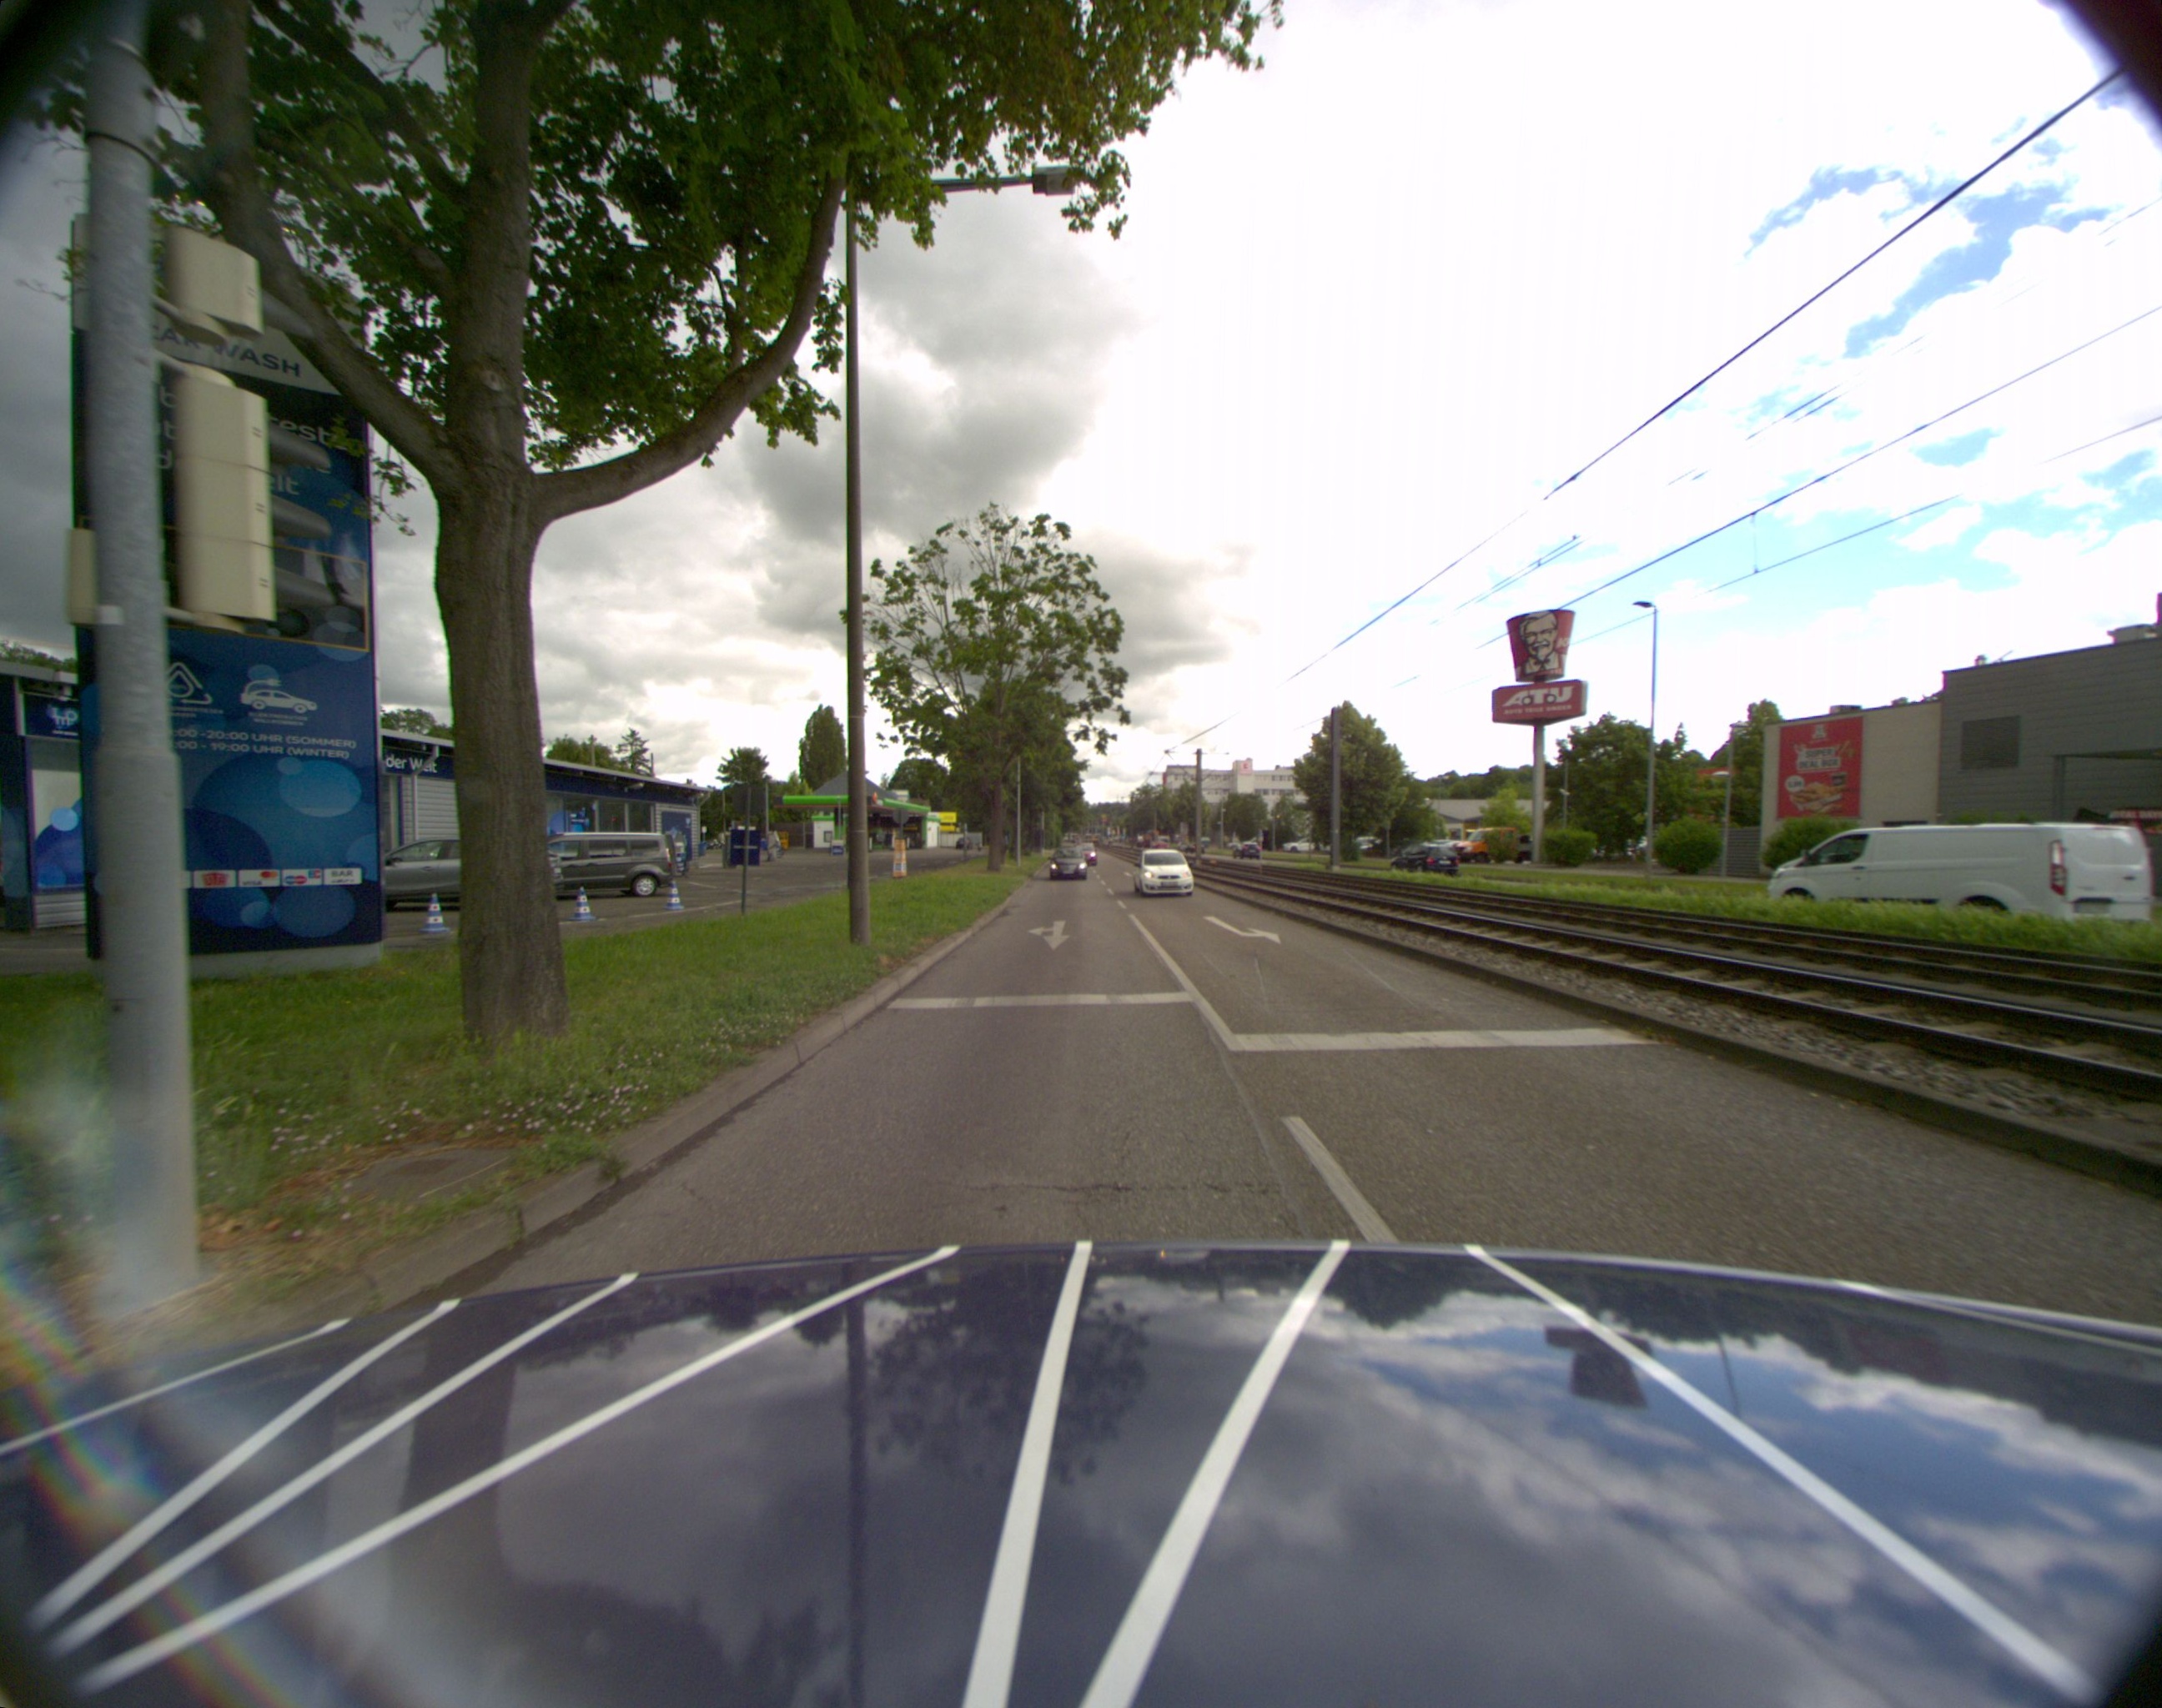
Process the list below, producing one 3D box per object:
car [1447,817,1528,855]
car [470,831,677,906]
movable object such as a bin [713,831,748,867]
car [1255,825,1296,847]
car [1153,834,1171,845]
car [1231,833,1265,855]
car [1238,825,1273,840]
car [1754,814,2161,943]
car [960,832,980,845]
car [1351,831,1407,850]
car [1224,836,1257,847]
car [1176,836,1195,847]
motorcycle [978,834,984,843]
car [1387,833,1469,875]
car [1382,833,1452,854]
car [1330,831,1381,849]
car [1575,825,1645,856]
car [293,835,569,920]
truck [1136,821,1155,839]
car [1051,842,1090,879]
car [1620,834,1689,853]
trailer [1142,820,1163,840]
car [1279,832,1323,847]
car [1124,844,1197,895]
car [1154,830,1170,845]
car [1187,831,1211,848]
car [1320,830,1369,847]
[{"bbox_3d":[25.650,-1.134,48.008,3.997,2.154,2.058,-3,2,-1],"label":"car"},{"bbox_3d":[-13.606,0.309,20.567,4.393,1.811,1.746,-1,2,-43],"label":"car"},{"bbox_3d":[-18.040,-0.264,39.150,1.162,1.808,1.454,0,2,-5],"label":"movable object such as a bin"},{"bbox_3d":[24.825,-2.315,97.064,4.481,2.733,2.288,1,2,-1],"label":"car"},{"bbox_3d":[12.050,-2.178,113.502,1.788,1.573,4.479,1,2,-4],"label":"car"},{"bbox_3d":[15.701,-1.015,71.702,1.999,2.002,4.244,0,2,-5],"label":"car"},{"bbox_3d":[24.481,-2.983,106.613,4.355,1.908,2.000,-2,2,2],"label":"car"},{"bbox_3d":[16.057,0.321,14.348,2.000,2.002,4.881,0,2,-7],"label":"car"},{"bbox_3d":[-15.318,-2.113,104.940,1.999,1.629,4.325,2,2,0],"label":"car"},{"bbox_3d":[25.783,-1.208,65.826,3.997,1.413,1.936,-3,2,-1],"label":"car"},{"bbox_3d":[24.297,-1.962,116.027,4.611,1.484,2.000,-2,2,2],"label":"car"},{"bbox_3d":[15.220,-1.860,110.982,1.999,1.474,3.998,2,2,-2],"label":"car"},{"bbox_3d":[-13.075,-2.061,99.407,0.704,1.180,2.386,0,2,-7],"label":"motorcycle"},{"bbox_3d":[17.365,-0.053,38.257,1.999,2.002,4.104,0,2,-5],"label":"car"},{"bbox_3d":[25.873,-0.815,58.565,4.385,1.346,2.194,-3,2,-1],"label":"car"},{"bbox_3d":[25.452,-1.299,70.547,3.997,1.498,1.936,-3,2,-1],"label":"car"},{"bbox_3d":[38.224,-0.979,54.916,3.738,2.002,1.951,-3,2,-3],"label":"car"},{"bbox_3d":[-14.048,0.455,16.764,4.217,1.687,1.837,0,1,-20],"label":"car"},{"bbox_3d":[14.233,-5.325,168.489,2.900,3.944,8.625,0,2,-3],"label":"truck"},{"bbox_3d":[-0.452,0.288,37.383,1.786,1.614,3.999,-1,2,1],"label":"car"},{"bbox_3d":[43.531,-0.772,57.723,3.738,1.381,1.951,0,2,-3],"label":"car"},{"bbox_3d":[14.585,-4.968,157.022,2.678,3.875,14.419,2,2,-1],"label":"trailer"},{"bbox_3d":[25.470,-1.669,87.964,4.482,1.498,1.794,-3,2,-4],"label":"car"},{"bbox_3d":[2.580,0.452,25.498,1.787,1.436,3.997,-3,2,-3],"label":"car"},{"bbox_3d":[14.440,-2.917,135.357,1.874,2.485,5.996,1,2,-2],"label":"car"},{"bbox_3d":[14.898,-1.885,96.311,1.999,2.002,3.997,1,2,-5],"label":"car"},{"bbox_3d":[25.379,-1.497,73.361,3.997,1.498,2.001,-3,2,-1],"label":"car"}]
